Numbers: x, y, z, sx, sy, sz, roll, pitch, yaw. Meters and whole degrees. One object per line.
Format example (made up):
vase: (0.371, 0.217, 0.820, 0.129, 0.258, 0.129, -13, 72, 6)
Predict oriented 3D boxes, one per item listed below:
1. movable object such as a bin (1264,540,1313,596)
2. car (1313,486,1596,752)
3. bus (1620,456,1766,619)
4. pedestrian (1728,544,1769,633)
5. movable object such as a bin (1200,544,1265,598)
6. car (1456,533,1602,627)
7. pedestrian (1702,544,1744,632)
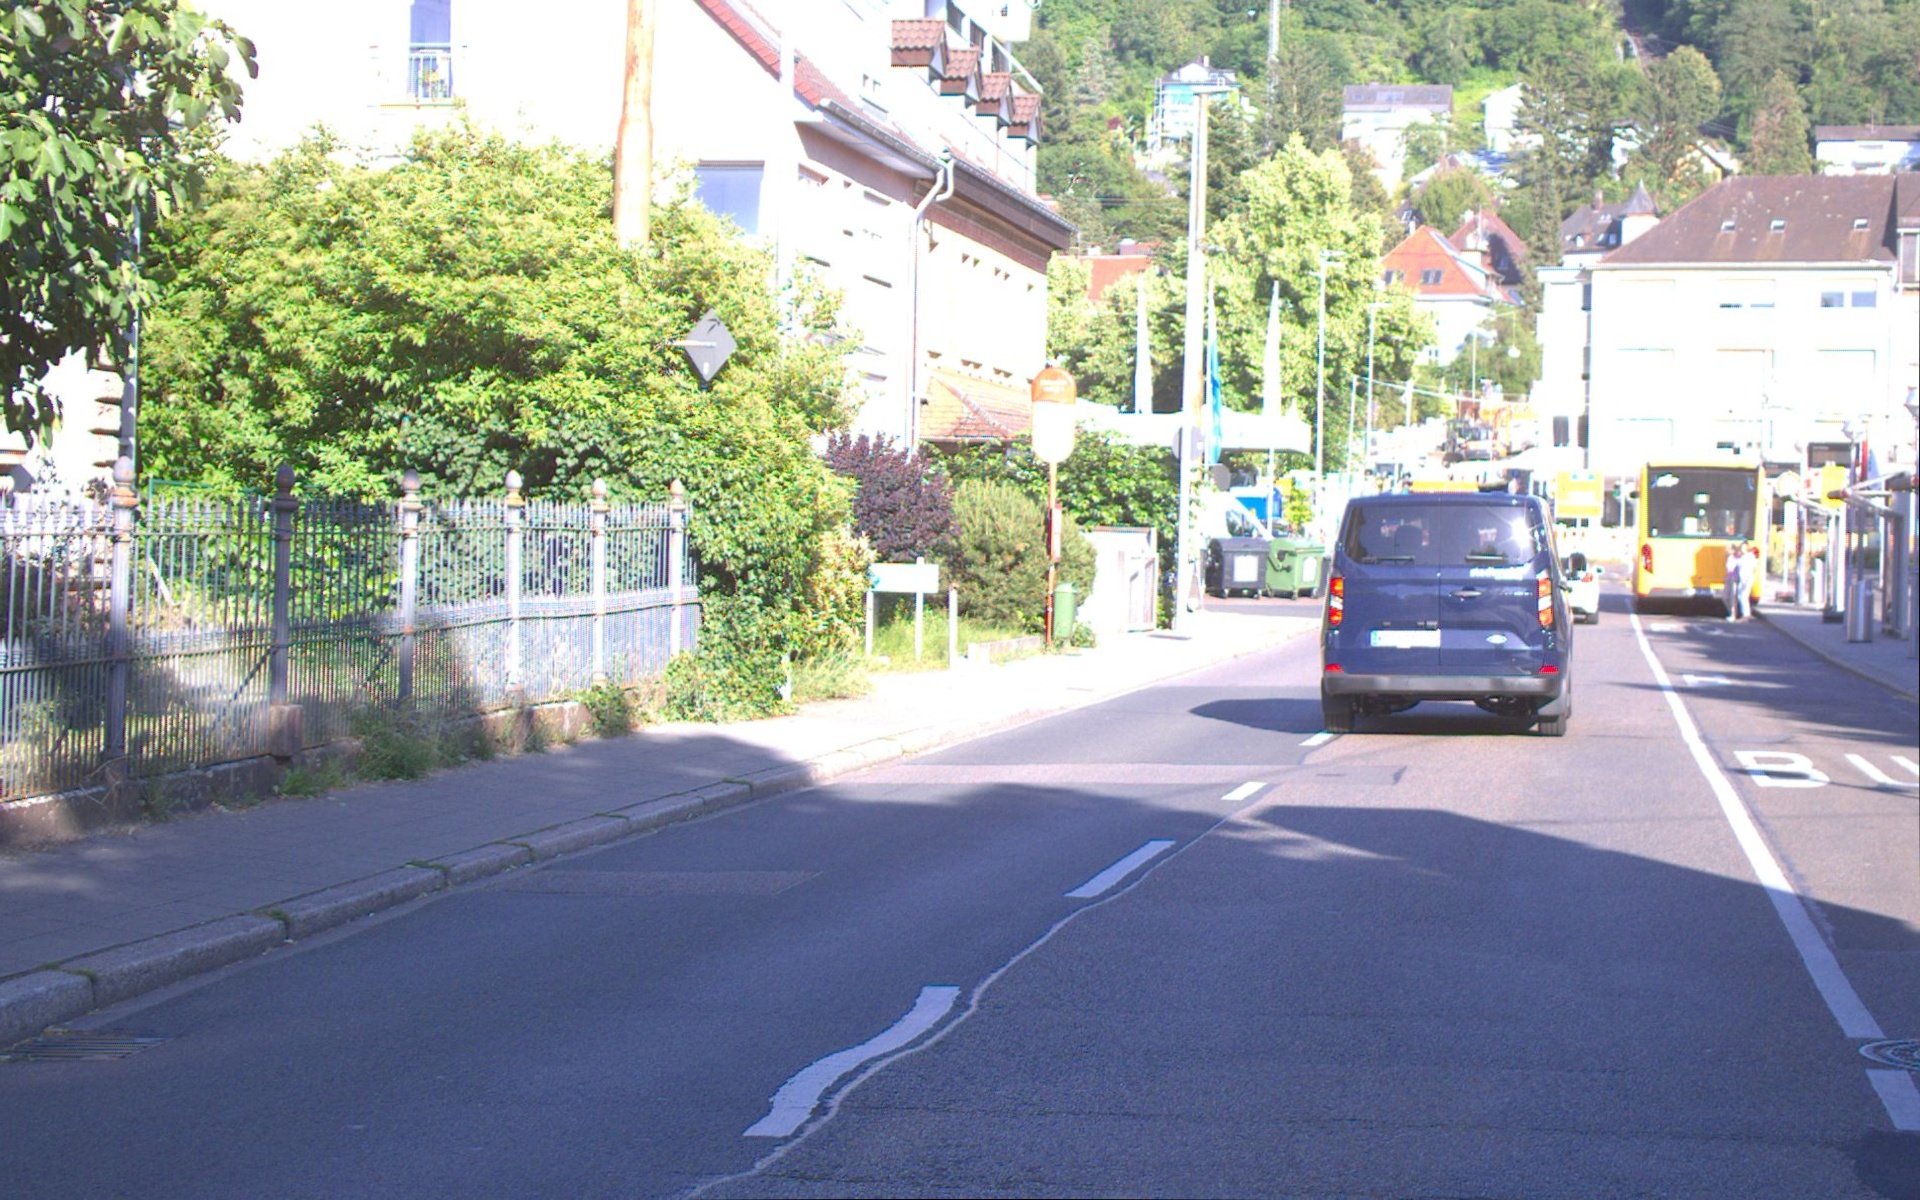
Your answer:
movable object such as a bin: (7.821, -0.773, 81.898, 1.035, 1.299, 0.960, 2, 0, -1)
car: (4.248, 0.118, 29.040, 1.995, 2.007, 3.998, 2, 1, 13)
bus: (16.054, -1.317, 75.819, 2.705, 3.279, 10.207, 2, 1, 10)
pedestrian: (15.831, -0.232, 69.016, 0.543, 1.761, 0.552, 1, 0, -41)
movable object such as a bin: (6.479, -0.685, 81.709, 1.426, 1.223, 0.960, 2, 0, -1)
car: (11.064, -0.399, 67.098, 1.993, 1.711, 4.000, 2, 1, -2)
pedestrian: (15.416, -0.248, 69.457, 0.543, 1.761, 0.552, 1, 0, -41)
